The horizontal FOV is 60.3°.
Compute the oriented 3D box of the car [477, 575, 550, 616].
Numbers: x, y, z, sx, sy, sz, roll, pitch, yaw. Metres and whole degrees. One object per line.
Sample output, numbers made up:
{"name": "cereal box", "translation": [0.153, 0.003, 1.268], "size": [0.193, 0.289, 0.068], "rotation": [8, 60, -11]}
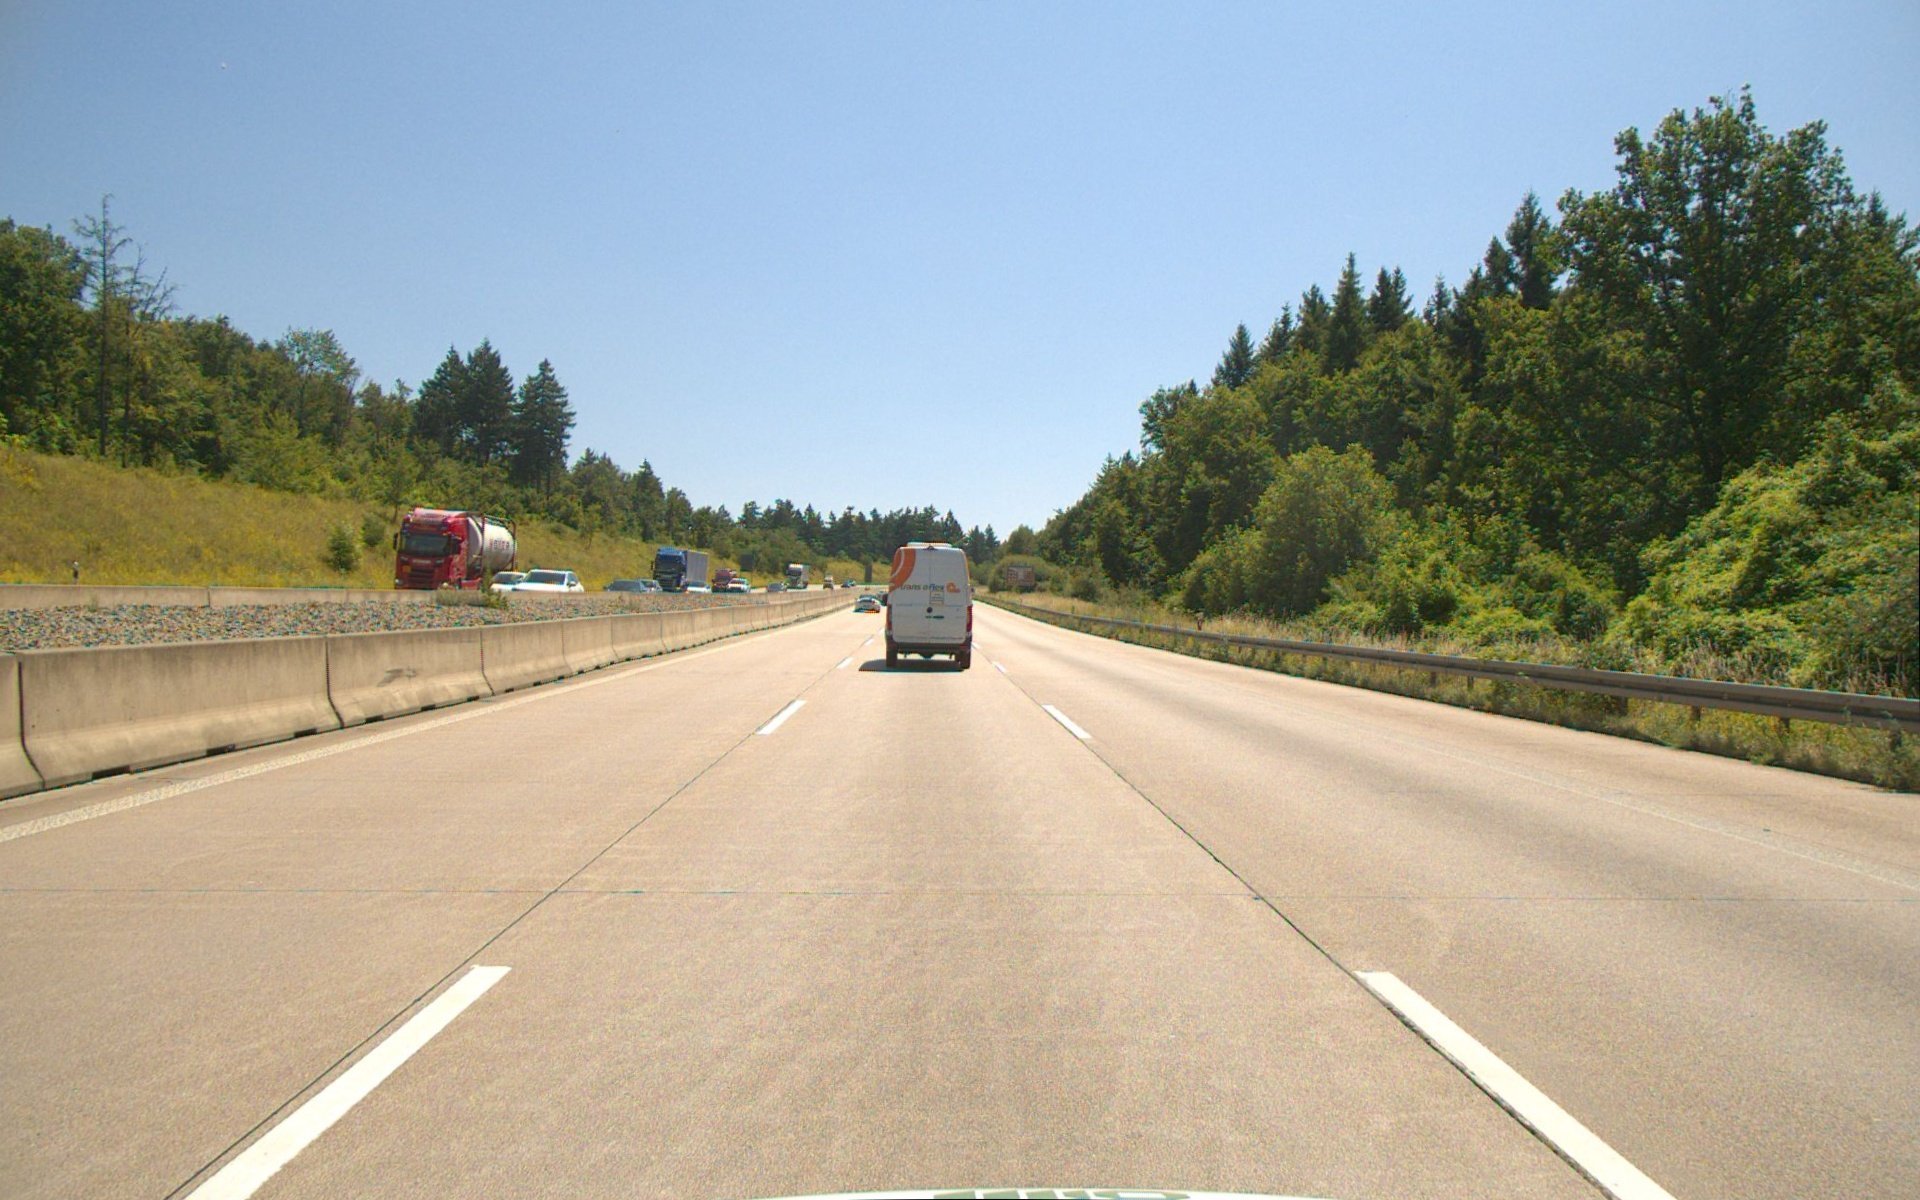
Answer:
{"name": "car", "translation": [-18.728, -0.193, 69.608], "size": [1.953, 1.610, 4.179], "rotation": [2, 0, -1]}

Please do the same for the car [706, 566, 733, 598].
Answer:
{"name": "car", "translation": [-25.711, -1.904, 177.141], "size": [1.953, 3.298, 7.058], "rotation": [2, 0, -2]}

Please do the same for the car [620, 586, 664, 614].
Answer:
{"name": "car", "translation": [-20.112, -0.001, 104.685], "size": [1.953, 1.610, 4.429], "rotation": [2, 0, -1]}

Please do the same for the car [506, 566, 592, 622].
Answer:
{"name": "car", "translation": [-15.064, -0.229, 60.918], "size": [1.953, 1.906, 4.967], "rotation": [2, 0, -1]}

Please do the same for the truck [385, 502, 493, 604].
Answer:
{"name": "truck", "translation": [-23.149, -2.003, 73.831], "size": [2.874, 4.241, 5.980], "rotation": [2, 0, -1]}

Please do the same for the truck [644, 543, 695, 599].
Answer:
{"name": "truck", "translation": [-24.862, -2.421, 141.807], "size": [3.191, 4.583, 6.572], "rotation": [2, 0, -2]}

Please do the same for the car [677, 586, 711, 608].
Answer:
{"name": "car", "translation": [-20.604, -0.203, 128.211], "size": [1.953, 1.610, 4.528], "rotation": [2, 0, -1]}

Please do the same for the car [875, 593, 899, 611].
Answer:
{"name": "car", "translation": [-7.314, 0.192, 166.331], "size": [1.952, 1.713, 4.001], "rotation": [2, 0, 2]}

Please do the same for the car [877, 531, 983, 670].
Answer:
{"name": "car", "translation": [-0.734, -0.013, 38.447], "size": [2.182, 2.893, 5.452], "rotation": [3, 1, -2]}

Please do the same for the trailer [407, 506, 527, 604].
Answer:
{"name": "trailer", "translation": [-23.242, -1.997, 78.522], "size": [2.874, 4.241, 9.332], "rotation": [2, 0, -1]}

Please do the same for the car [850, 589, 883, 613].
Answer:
{"name": "car", "translation": [-6.896, 0.072, 122.484], "size": [1.952, 1.713, 4.001], "rotation": [2, 0, 2]}

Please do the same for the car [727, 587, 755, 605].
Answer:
{"name": "car", "translation": [-20.549, -0.399, 155.525], "size": [1.953, 1.610, 5.517], "rotation": [2, 0, -1]}
